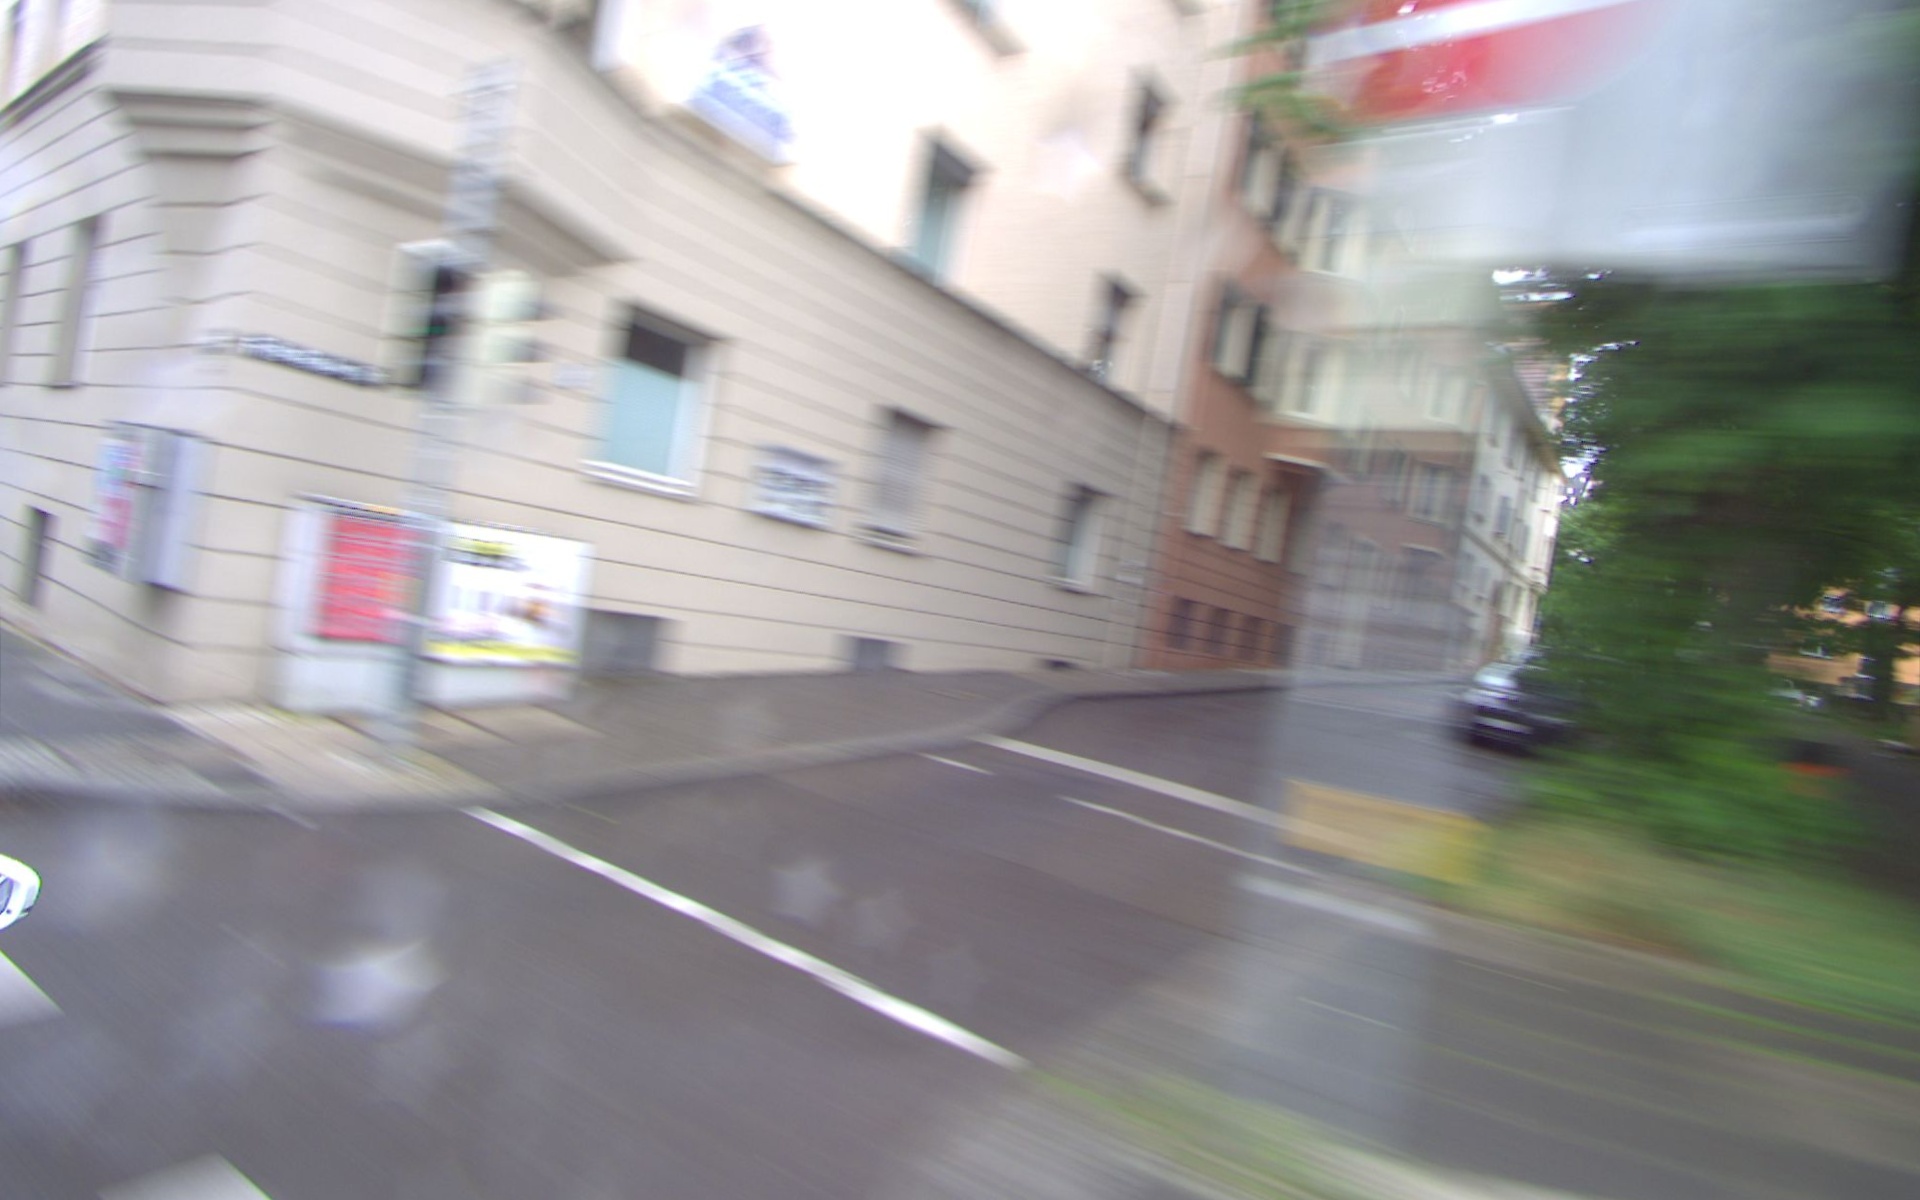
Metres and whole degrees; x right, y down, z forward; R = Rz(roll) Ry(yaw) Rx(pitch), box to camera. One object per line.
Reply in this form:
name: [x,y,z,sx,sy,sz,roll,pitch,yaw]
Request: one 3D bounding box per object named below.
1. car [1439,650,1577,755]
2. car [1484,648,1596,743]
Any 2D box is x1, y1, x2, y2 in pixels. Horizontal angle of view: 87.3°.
car: [9.749,1.706,17.741,1.752,1.438,3.988,6,1,33]
car: [12.970,2.059,22.395,1.836,1.711,4.316,6,0,32]
